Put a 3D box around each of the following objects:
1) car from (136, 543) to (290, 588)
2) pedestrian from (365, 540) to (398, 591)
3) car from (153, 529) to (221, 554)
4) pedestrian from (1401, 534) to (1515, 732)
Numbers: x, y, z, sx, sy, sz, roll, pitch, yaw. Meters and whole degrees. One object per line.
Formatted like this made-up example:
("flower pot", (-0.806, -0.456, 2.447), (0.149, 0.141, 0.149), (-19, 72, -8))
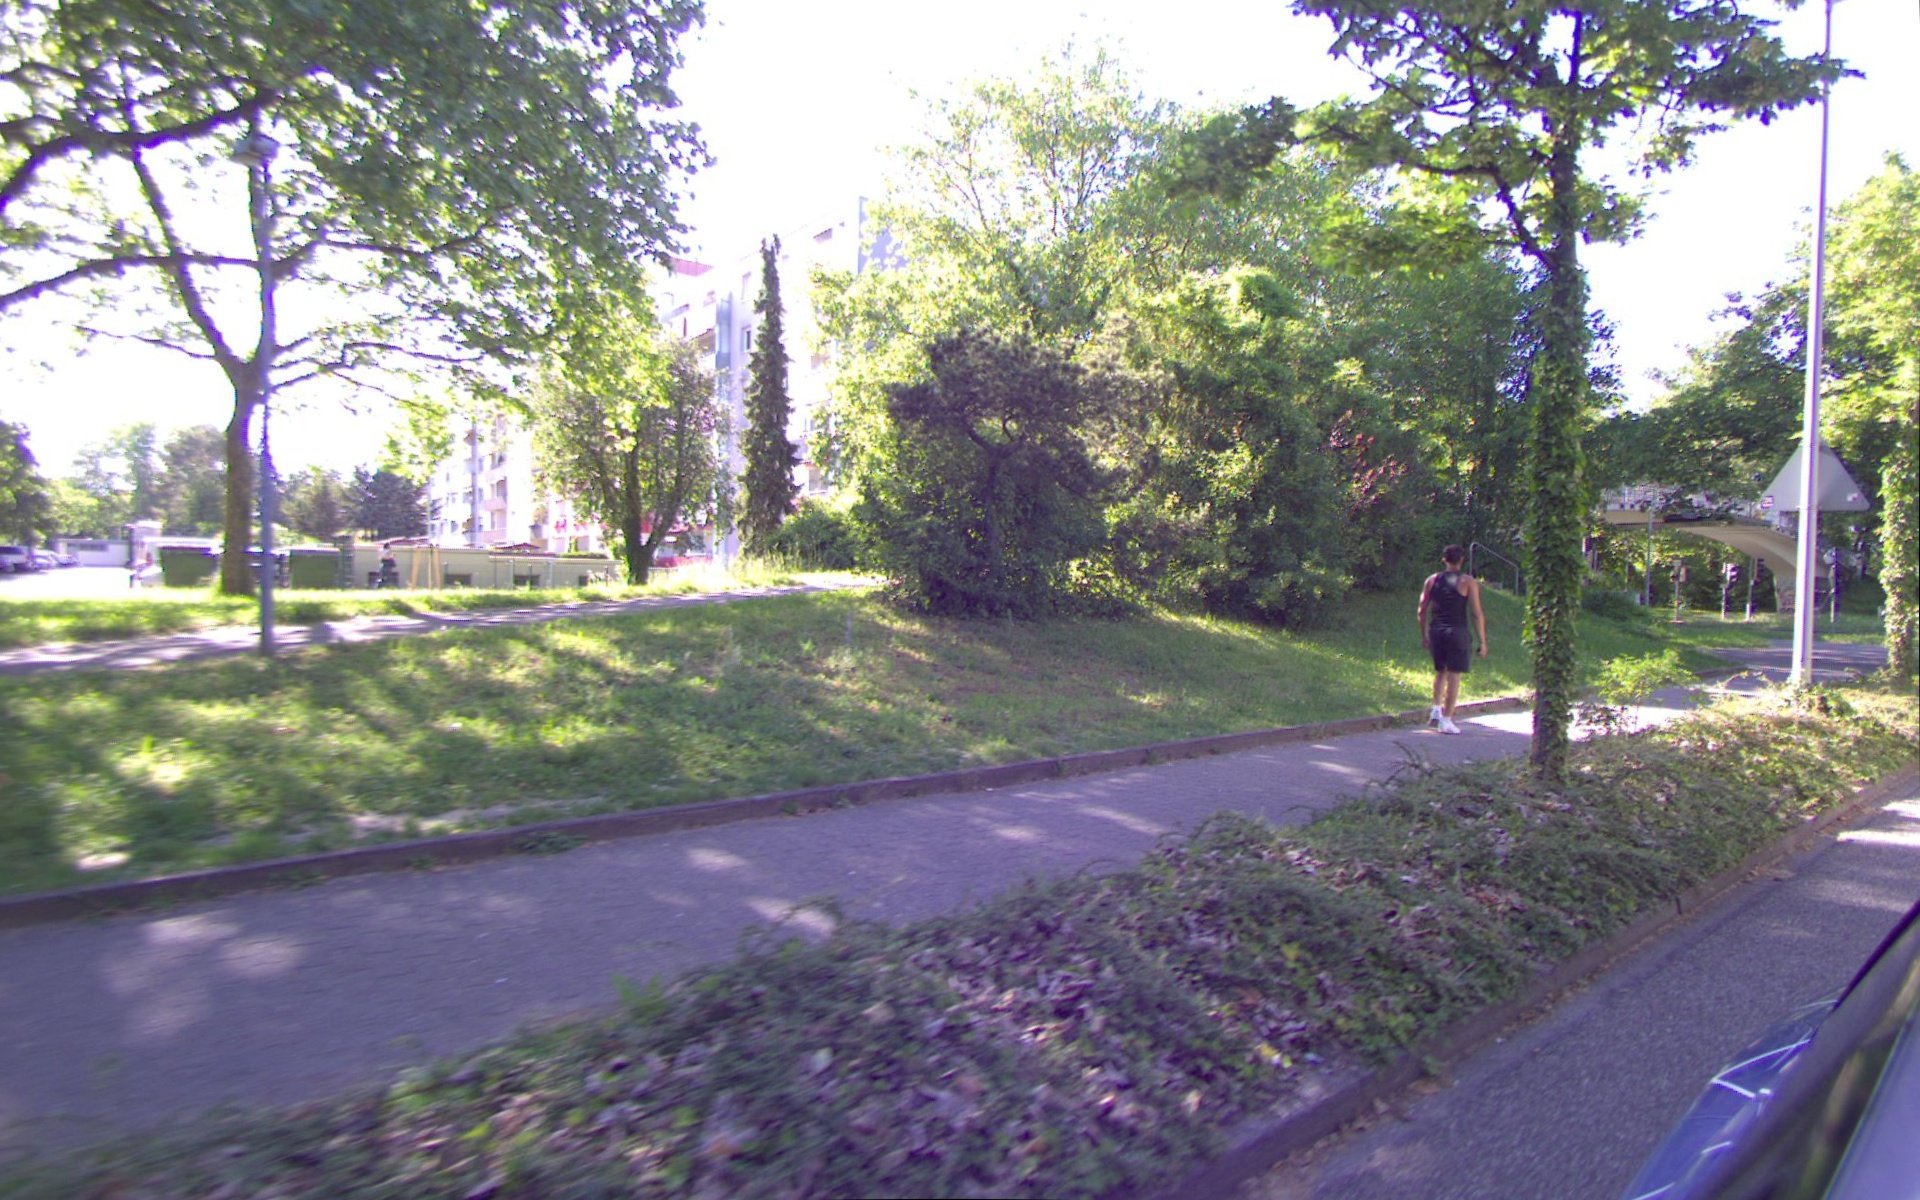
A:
("car", (-23.274, -1.043, 31.593), (3.790, 1.310, 1.540), (-1, 0, -41))
("pedestrian", (-18.382, -1.086, 32.178), (0.619, 1.608, 0.676), (-1, -1, 21))
("car", (-56.420, -4.245, 73.957), (3.925, 1.644, 1.999), (-1, 0, -37))
("pedestrian", (4.913, 0.298, 10.003), (0.659, 1.855, 0.793), (0, 1, -39))
